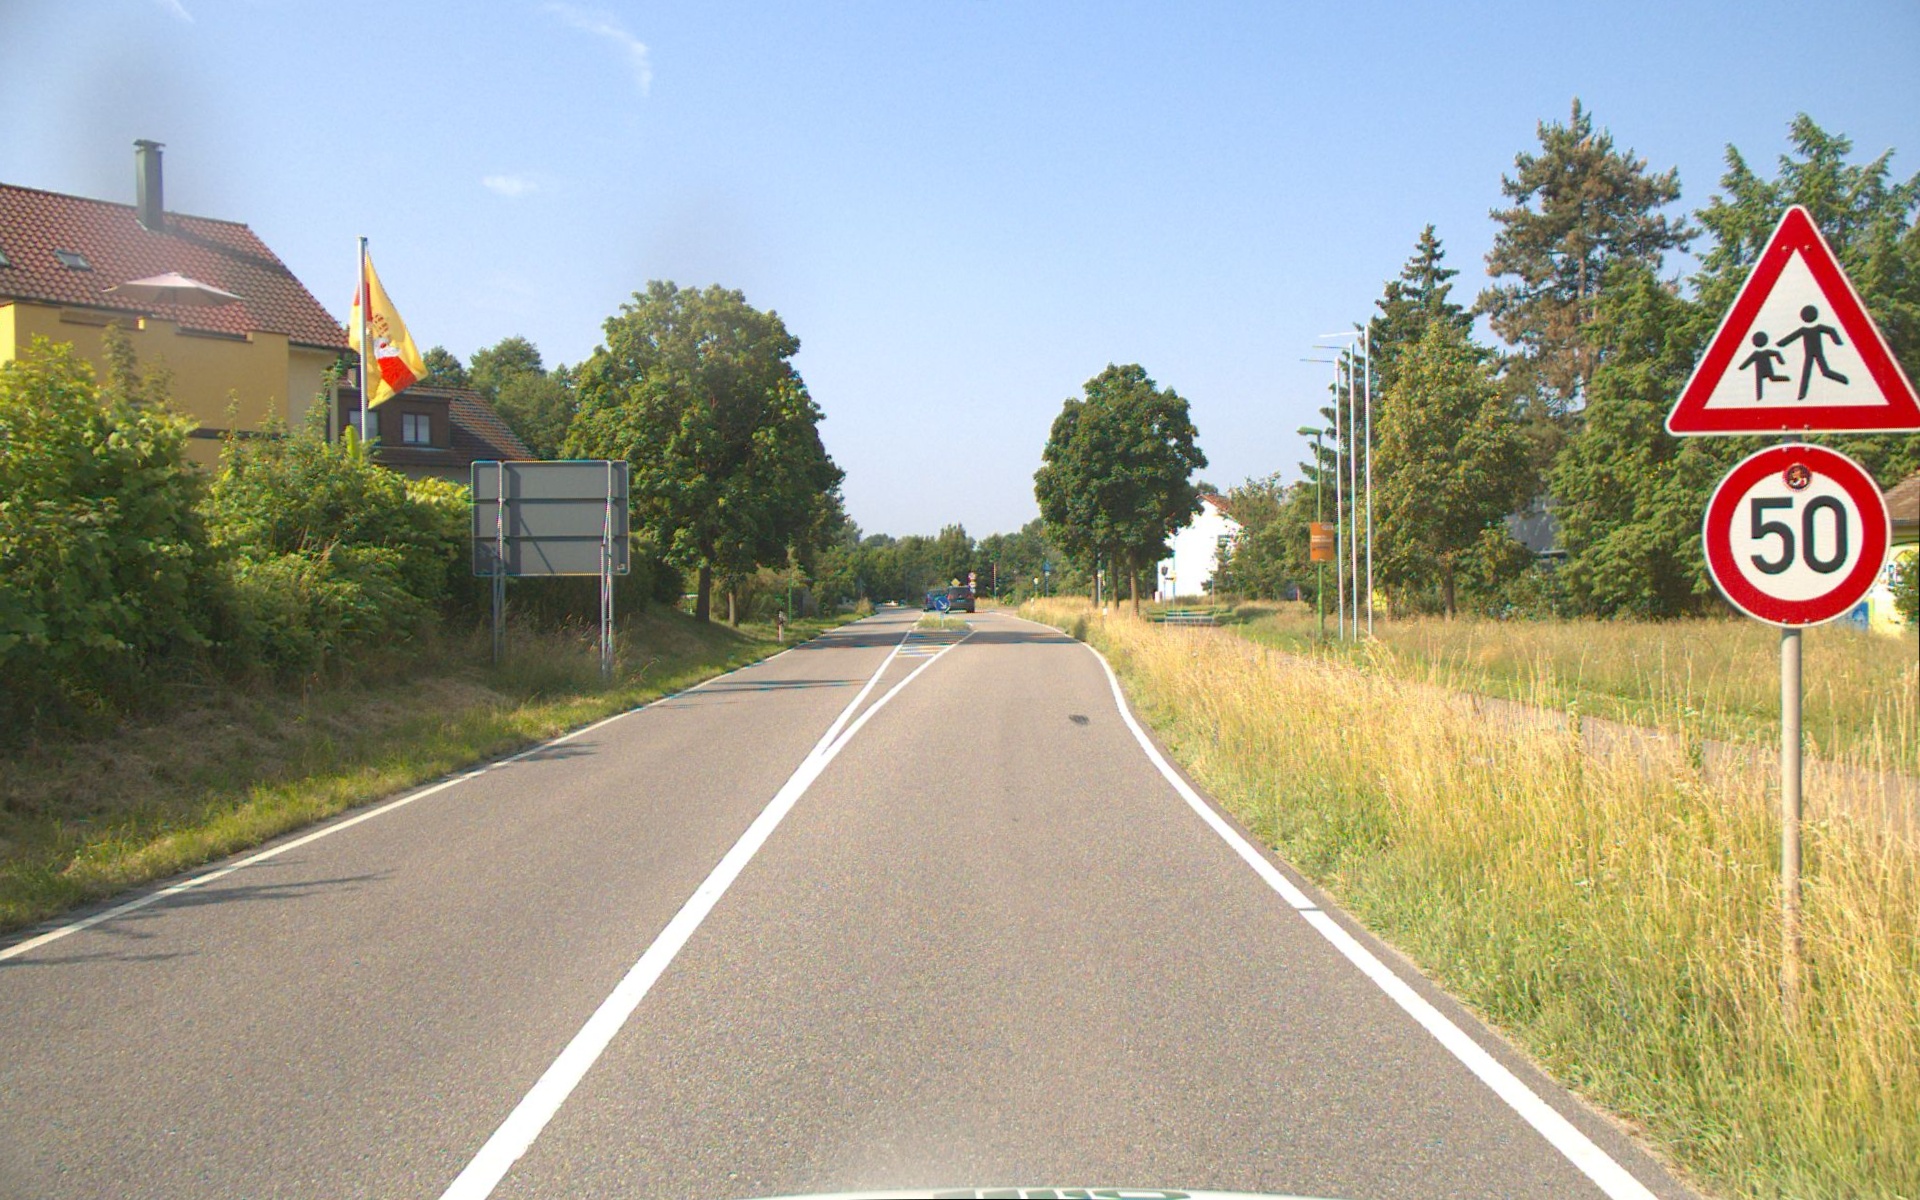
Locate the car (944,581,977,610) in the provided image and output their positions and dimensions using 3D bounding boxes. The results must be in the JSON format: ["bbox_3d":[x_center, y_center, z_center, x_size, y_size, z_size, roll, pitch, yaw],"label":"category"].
[{"bbox_3d":[0.018,-0.323,105.384,1.887,1.802,3.998,-1,1,-3],"label":"car"}]

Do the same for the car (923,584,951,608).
[{"bbox_3d":[-1.781,-0.310,126.608,1.965,1.802,3.997,-1,1,-4],"label":"car"}]
